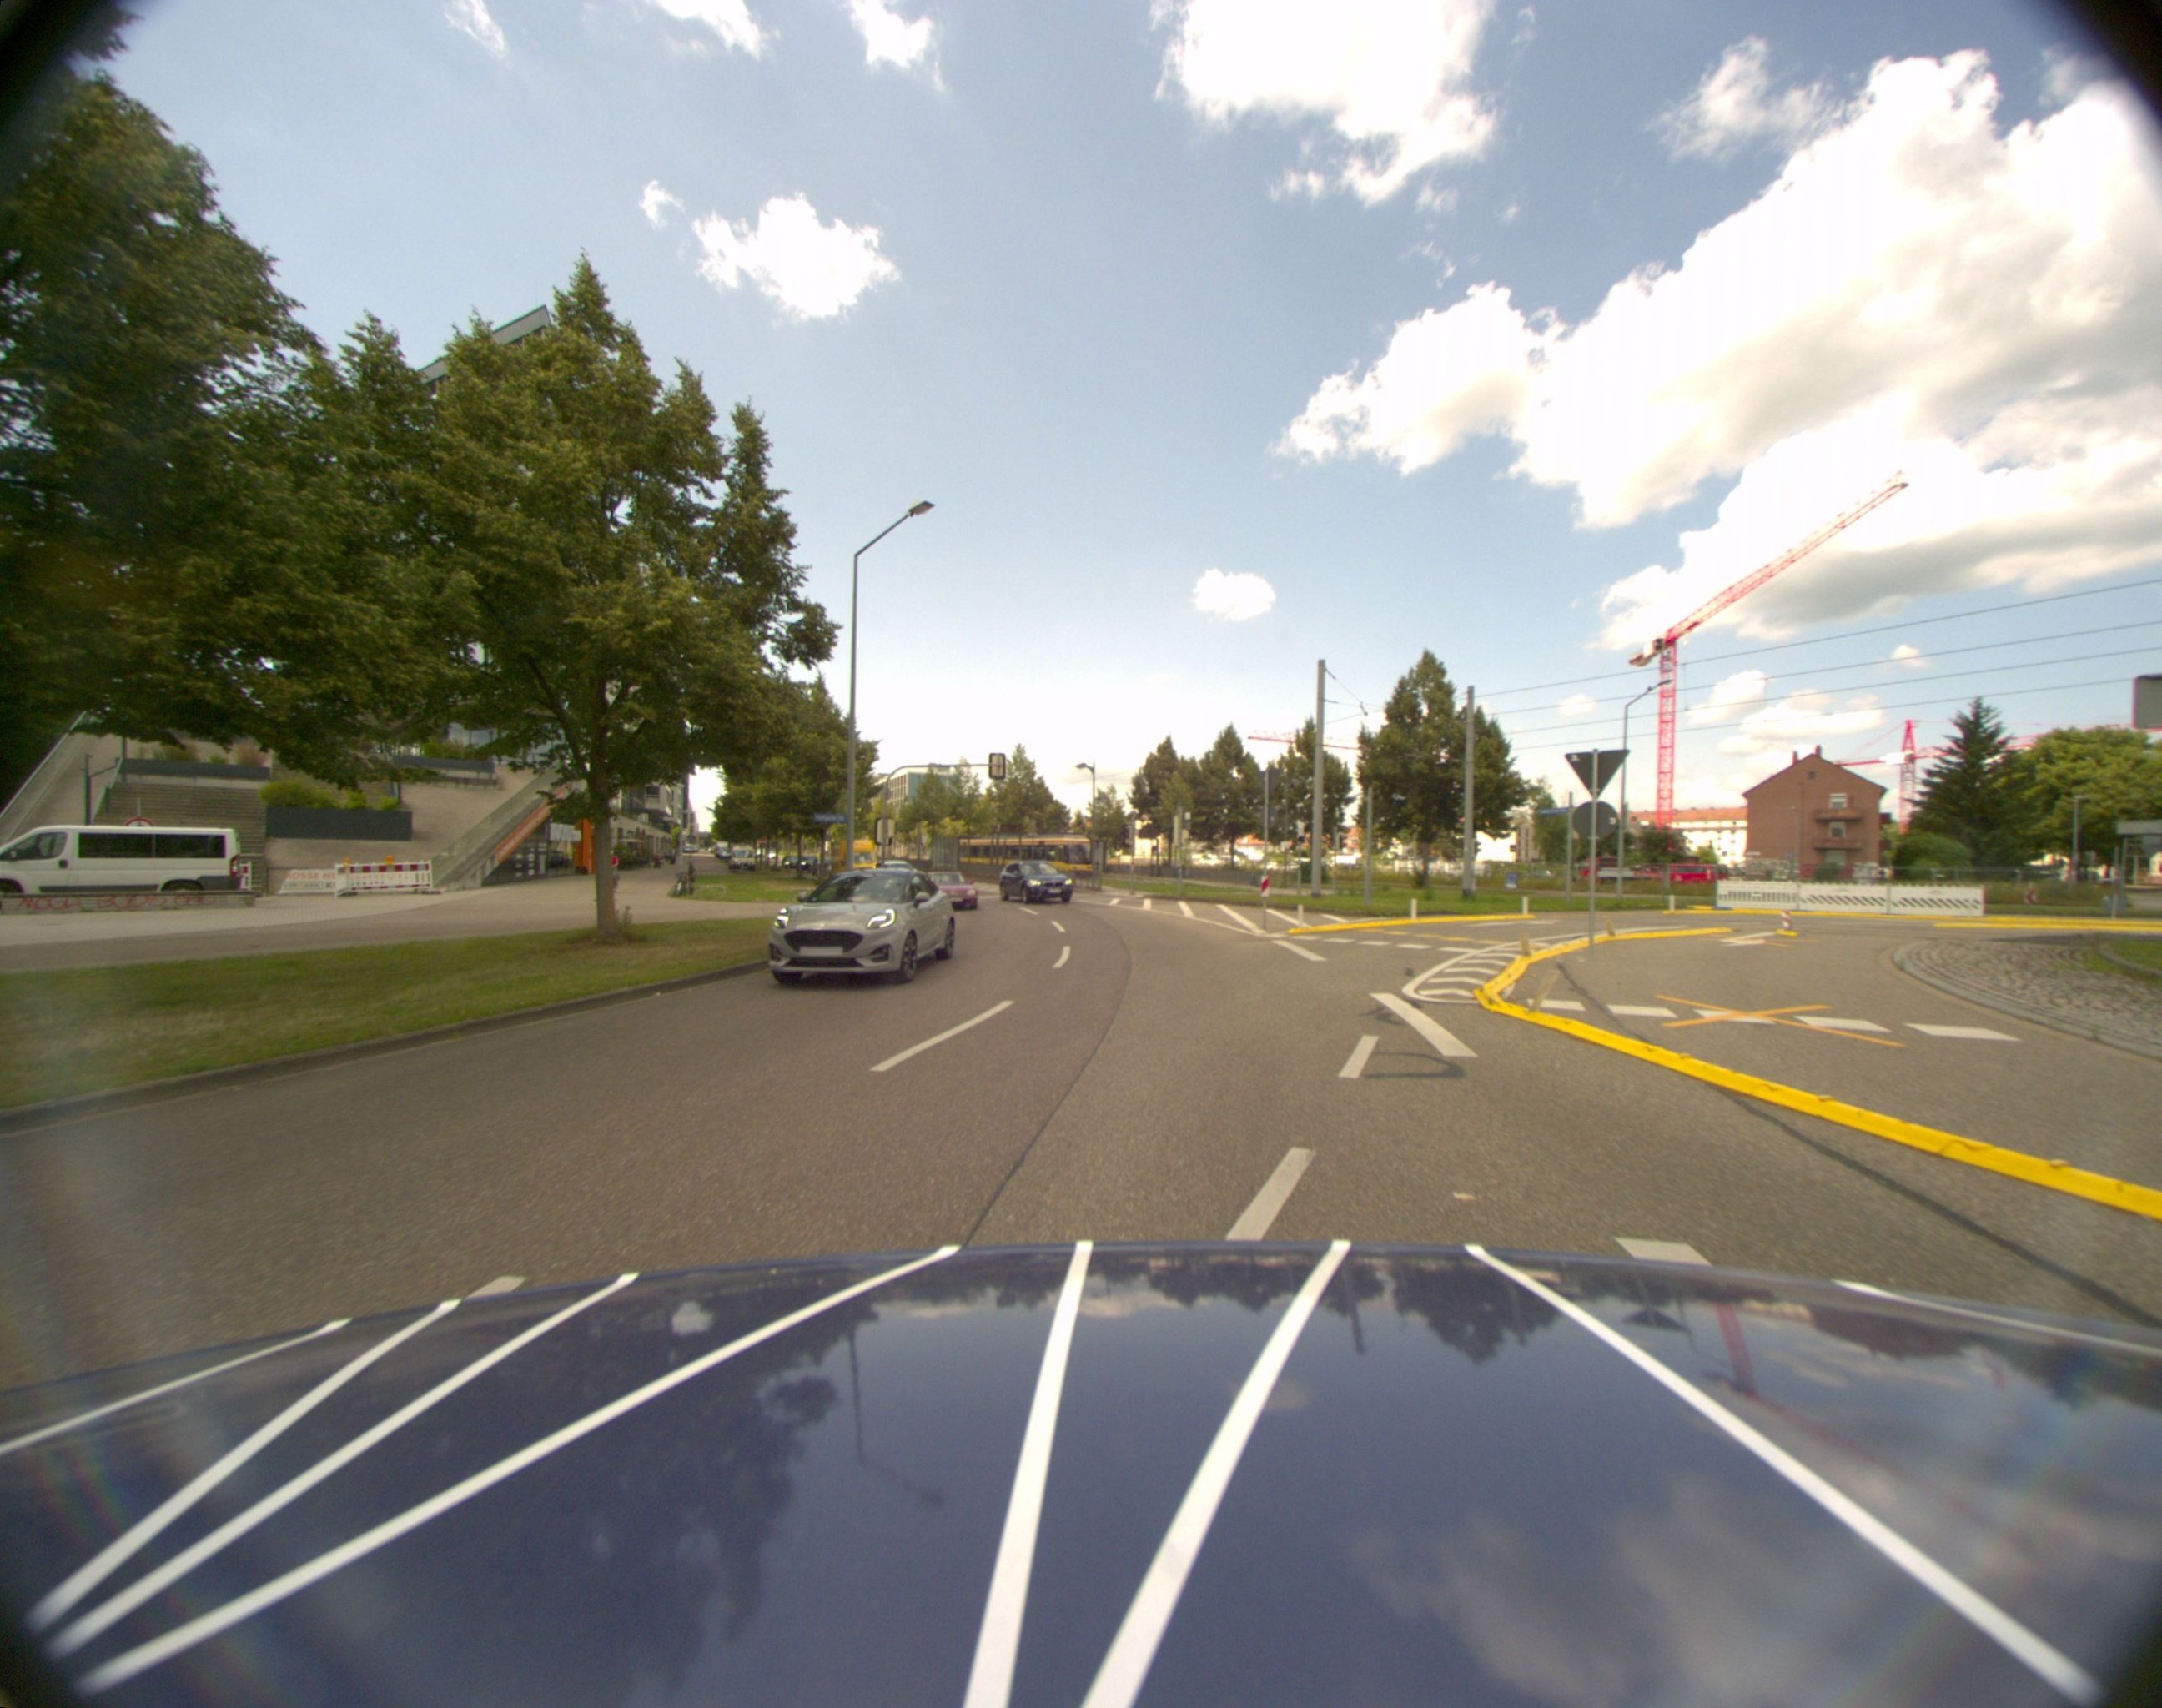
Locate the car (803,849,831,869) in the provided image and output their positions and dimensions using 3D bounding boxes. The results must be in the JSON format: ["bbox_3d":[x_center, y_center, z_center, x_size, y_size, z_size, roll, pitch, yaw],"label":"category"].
[{"bbox_3d":[-24.561,0.465,70.683,2.002,1.751,4.286,-2,1,-25],"label":"car"}]

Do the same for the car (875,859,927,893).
[{"bbox_3d":[-9.350,1.067,39.253,1.677,1.589,4.118,-1,1,-26],"label":"car"}]

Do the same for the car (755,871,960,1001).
[{"bbox_3d":[-3.035,1.038,11.251,1.673,1.462,4.093,0,0,2],"label":"car"}]

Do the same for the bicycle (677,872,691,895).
[{"bbox_3d":[-15.451,1.139,29.567,0.359,0.821,1.470,0,0,-32],"label":"bicycle"}]

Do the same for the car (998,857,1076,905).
[{"bbox_3d":[-1.794,0.980,29.678,1.777,1.590,4.119,-2,2,-22],"label":"car"}]

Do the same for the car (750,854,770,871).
[{"bbox_3d":[-33.659,0.860,79.635,1.826,1.641,3.991,-1,1,-23],"label":"car"}]

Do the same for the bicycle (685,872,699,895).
[{"bbox_3d":[-15.033,1.135,29.381,0.359,0.821,1.470,0,0,-32],"label":"bicycle"}]

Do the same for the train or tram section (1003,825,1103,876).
[{"bbox_3d":[-2.628,-0.253,61.878,2.856,3.718,13.446,1,0,-27],"label":"train or tram section"}]

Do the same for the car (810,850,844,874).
[{"bbox_3d":[-20.095,0.567,59.993,2.002,1.751,4.286,-2,1,-25],"label":"car"}]

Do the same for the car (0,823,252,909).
[{"bbox_3d":[-26.402,0.293,20.654,2.143,2.135,5.162,1,0,44],"label":"car"}]

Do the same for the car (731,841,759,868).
[{"bbox_3d":[-32.130,0.009,72.799,2.165,2.380,6.265,-1,1,-22],"label":"car"}]

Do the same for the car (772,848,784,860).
[{"bbox_3d":[-55.594,0.001,139.434,2.002,2.002,3.992,-1,1,-22],"label":"car"}]

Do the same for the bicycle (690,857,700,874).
[{"bbox_3d":[-26.381,0.767,51.899,0.517,1.082,1.744,1,0,-30],"label":"bicycle"}]

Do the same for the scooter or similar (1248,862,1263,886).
[{"bbox_3d":[10.213,1.173,44.427,0.419,1.295,1.344,1,3,-6],"label":"scooter or similar"}]

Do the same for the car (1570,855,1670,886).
[{"bbox_3d":[40.078,1.161,56.832,2.393,2.184,6.836,1,0,-2],"label":"car"}]

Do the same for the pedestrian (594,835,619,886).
[{"bbox_3d":[-19.109,0.245,30.628,0.756,2.002,1.229,0,2,-28],"label":"pedestrian"}]

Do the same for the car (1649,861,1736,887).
[{"bbox_3d":[46.783,1.497,58.314,2.087,1.841,5.181,1,0,-7],"label":"car"}]

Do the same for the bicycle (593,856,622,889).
[{"bbox_3d":[-19.132,0.710,30.724,0.814,1.237,2.405,-1,1,-28],"label":"bicycle"}]

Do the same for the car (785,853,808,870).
[{"bbox_3d":[-31.312,0.828,83.560,2.002,1.681,4.286,-2,1,-25],"label":"car"}]

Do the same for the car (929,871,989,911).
[{"bbox_3d":[-4.428,1.270,27.163,1.676,1.254,4.087,1,0,-15],"label":"car"}]

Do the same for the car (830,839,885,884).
[{"bbox_3d":[-15.064,0.451,50.933,2.289,2.836,7.239,0,0,-26],"label":"car"}]

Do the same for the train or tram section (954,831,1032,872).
[{"bbox_3d":[-8.908,-0.262,74.427,2.699,3.617,14.631,1,0,-27],"label":"train or tram section"}]
